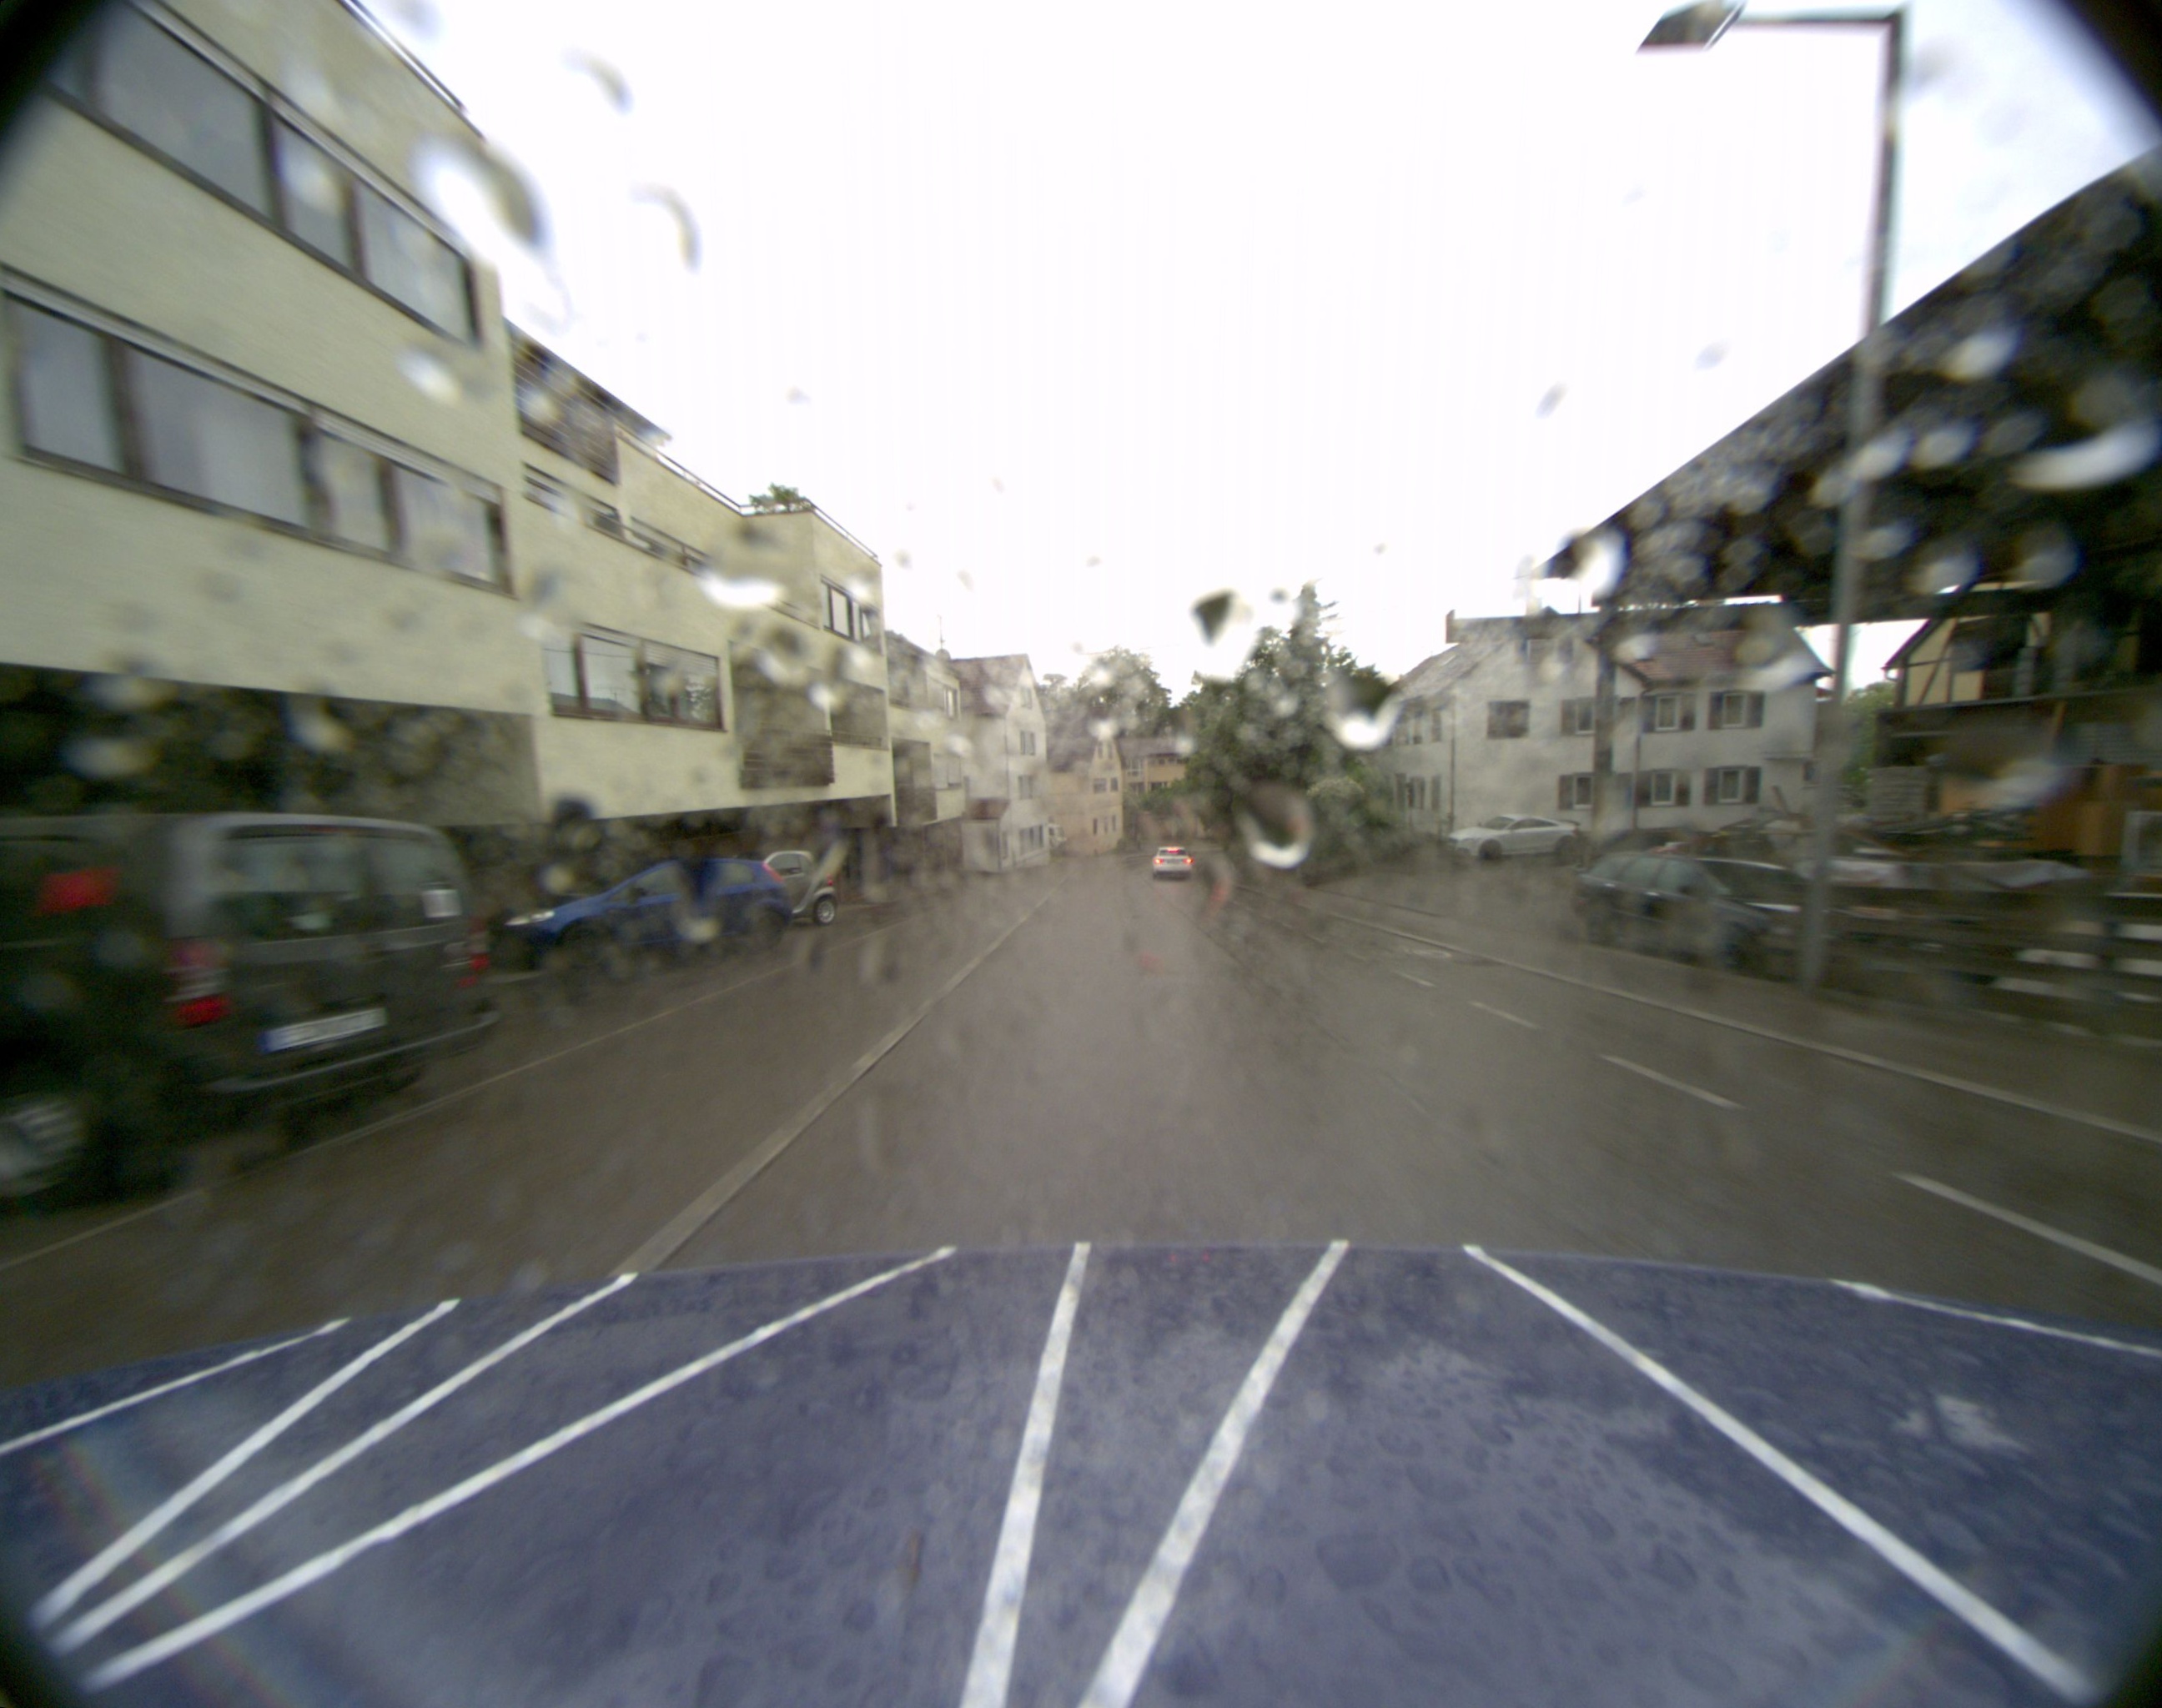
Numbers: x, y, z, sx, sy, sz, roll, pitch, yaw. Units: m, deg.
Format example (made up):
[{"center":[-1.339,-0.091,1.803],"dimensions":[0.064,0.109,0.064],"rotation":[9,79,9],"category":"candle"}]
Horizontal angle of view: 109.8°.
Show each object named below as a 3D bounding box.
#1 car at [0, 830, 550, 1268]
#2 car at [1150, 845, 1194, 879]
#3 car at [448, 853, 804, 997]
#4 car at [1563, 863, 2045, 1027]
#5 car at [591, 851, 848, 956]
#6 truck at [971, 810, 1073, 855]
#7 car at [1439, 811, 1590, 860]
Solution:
[{"center":[-5.995,0.836,4.188],"dimensions":[4.719,1.809,2.000],"rotation":[-1,1,1],"category":"car"},{"center":[4.140,0.323,35.067],"dimensions":[1.706,1.380,4.050],"rotation":[1,1,2],"category":"car"},{"center":[-6.484,0.882,11.228],"dimensions":[1.783,1.569,4.074],"rotation":[-3,1,40],"category":"car"},{"center":[8.261,0.887,9.439],"dimensions":[1.898,1.433,4.446],"rotation":[1,1,4],"category":"car"},{"center":[-6.684,0.836,14.522],"dimensions":[1.783,1.569,4.073],"rotation":[-3,1,29],"category":"car"},{"center":[-4.284,-1.573,55.121],"dimensions":[6.963,2.688,2.142],"rotation":[5,3,16],"category":"truck"},{"center":[14.422,-0.651,25.462],"dimensions":[3.996,1.500,1.803],"rotation":[-1,4,3],"category":"car"}]
